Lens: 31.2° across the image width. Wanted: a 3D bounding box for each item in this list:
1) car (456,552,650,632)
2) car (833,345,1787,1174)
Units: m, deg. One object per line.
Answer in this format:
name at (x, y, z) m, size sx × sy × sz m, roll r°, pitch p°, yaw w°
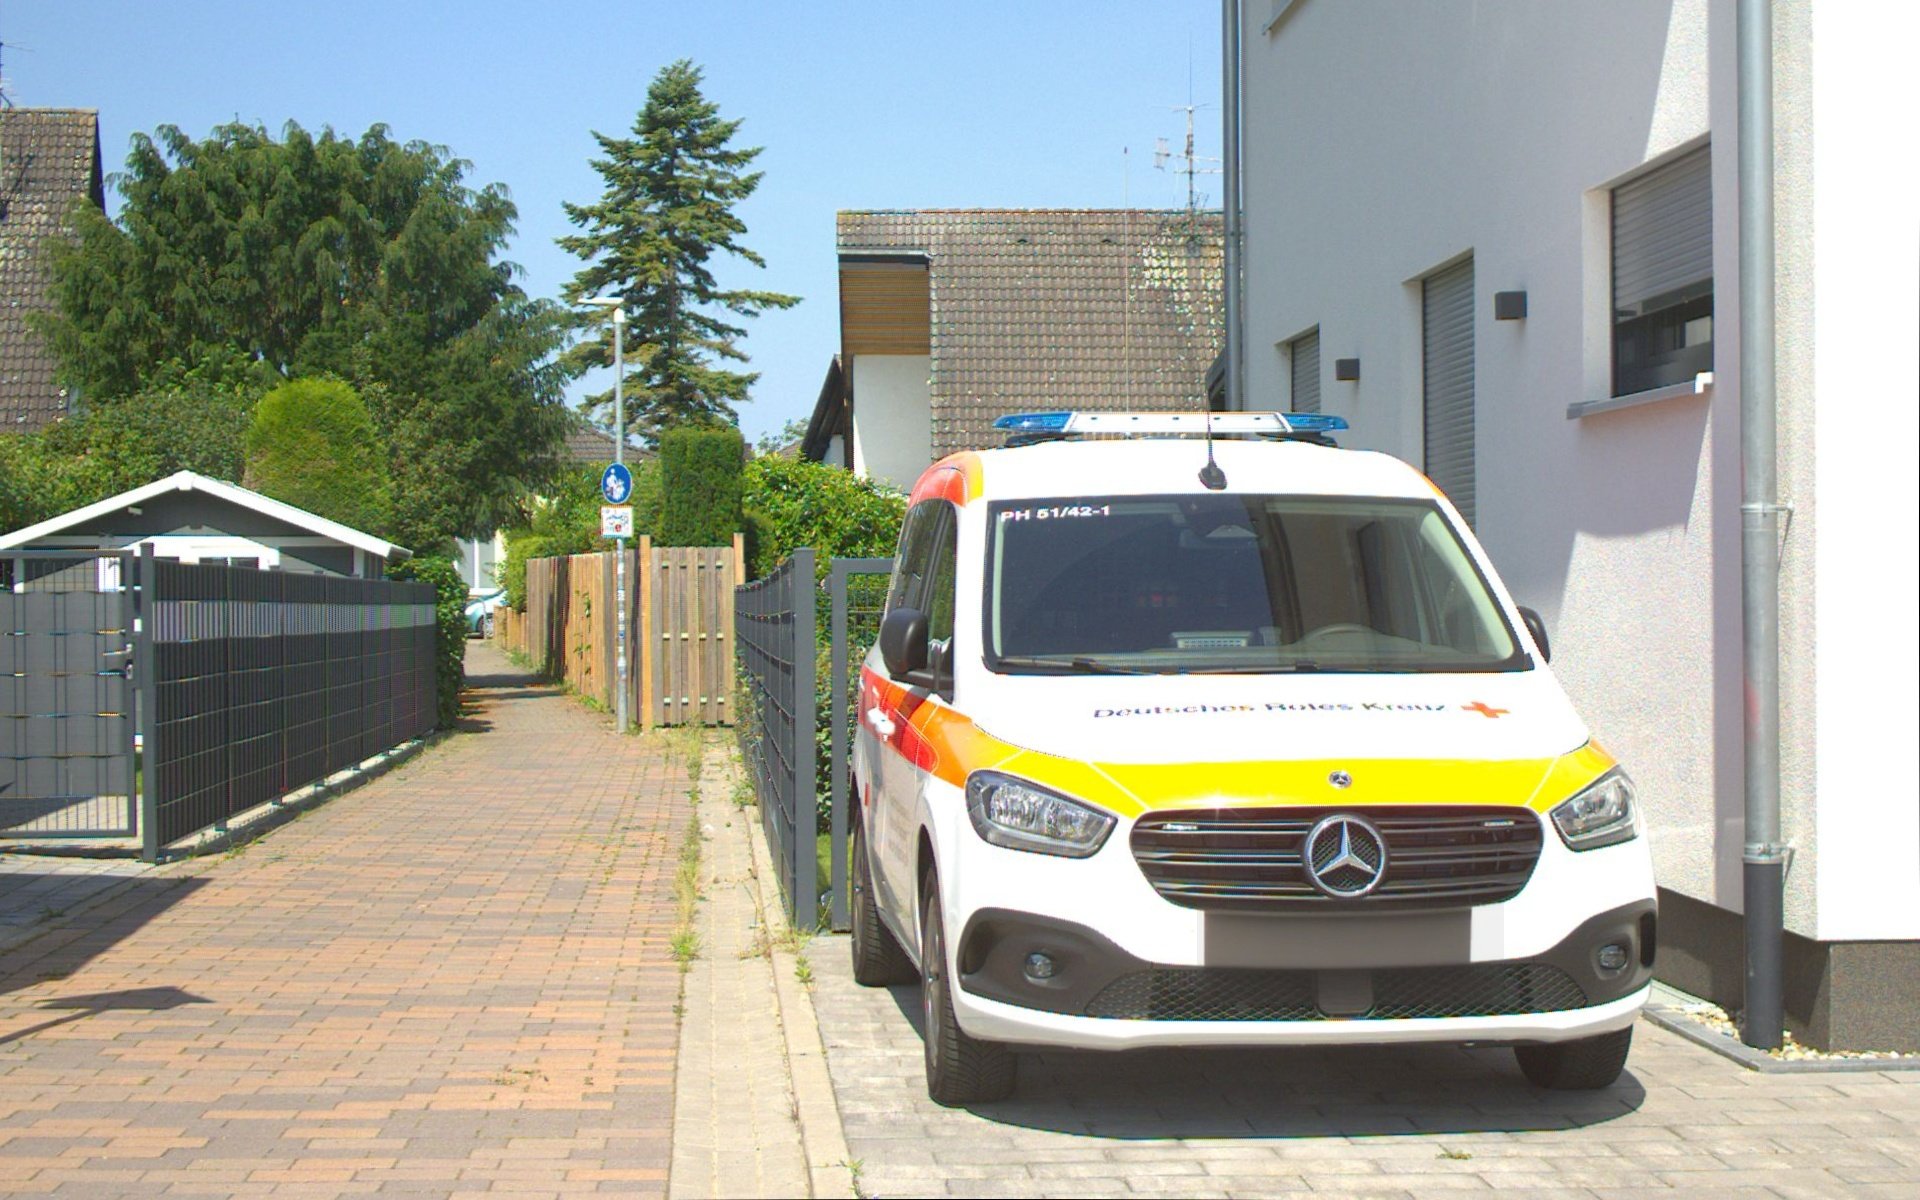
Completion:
car at (-8.826, -0.177, 74.865) m, size 4.146 × 1.711 × 1.906 m, roll 0°, pitch 1°, yaw -5°
car at (0.722, 0.351, 10.199) m, size 1.932 × 1.868 × 4.752 m, roll 0°, pitch 0°, yaw -5°
